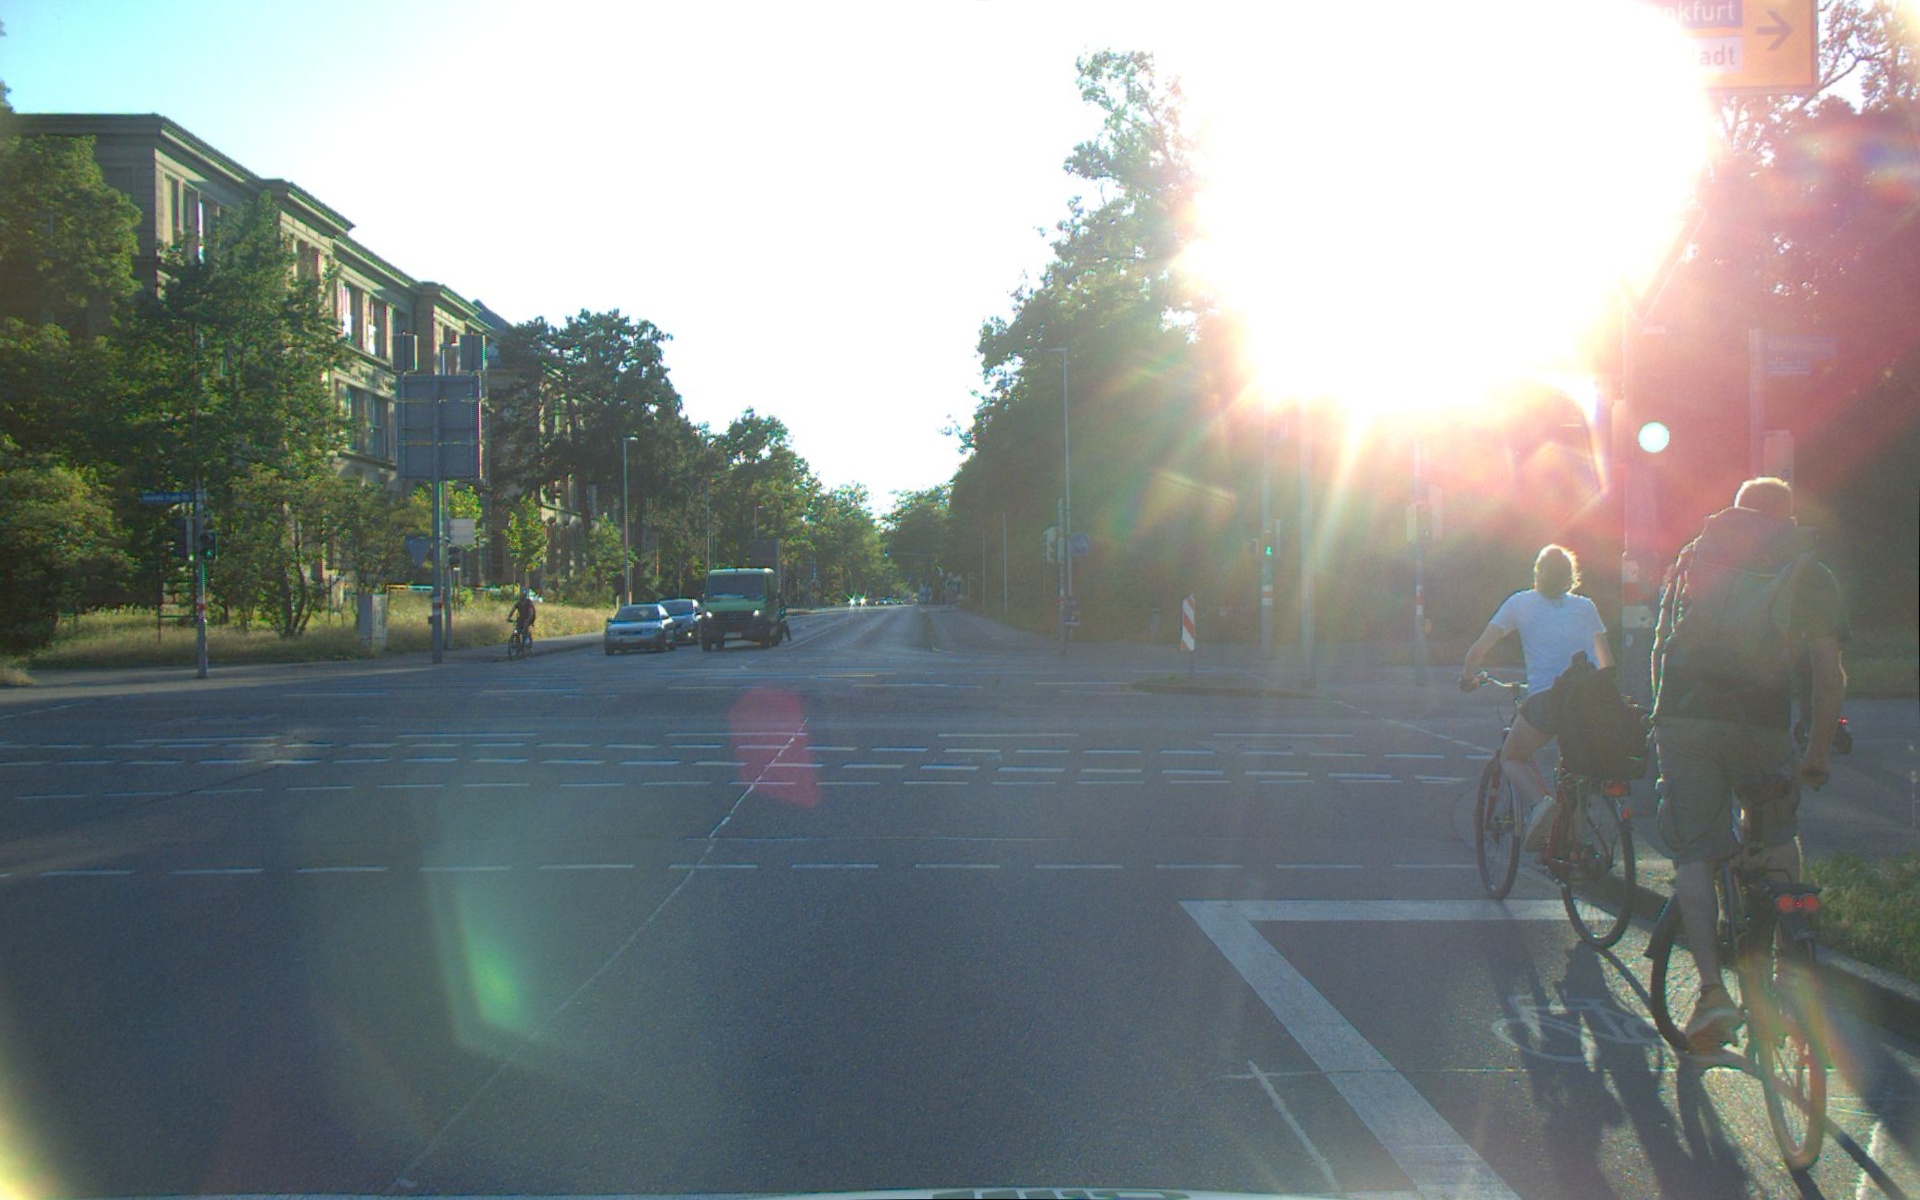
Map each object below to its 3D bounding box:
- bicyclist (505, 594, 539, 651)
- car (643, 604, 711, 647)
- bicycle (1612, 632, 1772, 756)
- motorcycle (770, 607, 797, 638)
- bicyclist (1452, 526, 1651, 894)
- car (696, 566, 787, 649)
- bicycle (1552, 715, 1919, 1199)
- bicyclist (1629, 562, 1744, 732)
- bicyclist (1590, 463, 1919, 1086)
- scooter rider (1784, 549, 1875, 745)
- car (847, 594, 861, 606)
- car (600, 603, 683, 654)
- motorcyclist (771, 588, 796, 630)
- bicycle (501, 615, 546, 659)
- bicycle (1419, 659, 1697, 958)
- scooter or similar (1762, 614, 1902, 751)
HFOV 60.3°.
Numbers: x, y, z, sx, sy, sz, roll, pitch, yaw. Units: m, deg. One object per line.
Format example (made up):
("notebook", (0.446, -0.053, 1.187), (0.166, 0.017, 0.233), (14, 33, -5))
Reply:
("bicyclist", (-11.944, 0.612, 45.146), (0.669, 1.539, 0.955), (-1, 0, -1))
("car", (-9.534, 0.832, 55.967), (1.729, 1.351, 3.642), (-1, 0, -1))
("bicycle", (6.788, 0.840, 15.445), (0.754, 1.024, 2.017), (0, 0, 5))
("motorcycle", (-5.949, 0.741, 55.850), (0.739, 1.019, 1.878), (-1, 0, -1))
("bicyclist", (2.735, 0.482, 7.726), (0.591, 1.613, 0.909), (0, 0, -1))
("car", (-6.496, 0.200, 49.704), (1.997, 2.317, 5.940), (-1, 0, -1))
("bicycle", (2.344, 0.948, 4.910), (0.684, 1.081, 1.826), (0, 0, 6))
("bicyclist", (6.785, 0.424, 15.483), (0.743, 1.544, 0.857), (0, 0, 5))
("bicyclist", (2.350, 0.472, 4.936), (0.683, 1.696, 0.799), (0, 0, 6))
("scooter rider", (8.103, 0.431, 15.428), (0.554, 1.797, 0.505), (-1, -1, 0))
("car", (-13.972, -0.019, 217.686), (1.735, 1.500, 3.772), (-1, 0, -5))
("car", (-9.438, 0.821, 49.251), (1.694, 1.433, 4.139), (-1, 0, -1))
("motorcyclist", (-5.951, 0.303, 55.806), (0.734, 1.382, 0.704), (-1, -1, -1))
("bicycle", (-11.941, 1.004, 45.253), (0.672, 1.143, 2.168), (-1, 0, -1))
("bicycle", (2.729, 0.893, 7.759), (0.601, 1.158, 1.884), (0, 0, -1))
("scooter or similar", (8.106, 0.738, 15.432), (0.550, 1.210, 1.422), (0, 0, 0))
